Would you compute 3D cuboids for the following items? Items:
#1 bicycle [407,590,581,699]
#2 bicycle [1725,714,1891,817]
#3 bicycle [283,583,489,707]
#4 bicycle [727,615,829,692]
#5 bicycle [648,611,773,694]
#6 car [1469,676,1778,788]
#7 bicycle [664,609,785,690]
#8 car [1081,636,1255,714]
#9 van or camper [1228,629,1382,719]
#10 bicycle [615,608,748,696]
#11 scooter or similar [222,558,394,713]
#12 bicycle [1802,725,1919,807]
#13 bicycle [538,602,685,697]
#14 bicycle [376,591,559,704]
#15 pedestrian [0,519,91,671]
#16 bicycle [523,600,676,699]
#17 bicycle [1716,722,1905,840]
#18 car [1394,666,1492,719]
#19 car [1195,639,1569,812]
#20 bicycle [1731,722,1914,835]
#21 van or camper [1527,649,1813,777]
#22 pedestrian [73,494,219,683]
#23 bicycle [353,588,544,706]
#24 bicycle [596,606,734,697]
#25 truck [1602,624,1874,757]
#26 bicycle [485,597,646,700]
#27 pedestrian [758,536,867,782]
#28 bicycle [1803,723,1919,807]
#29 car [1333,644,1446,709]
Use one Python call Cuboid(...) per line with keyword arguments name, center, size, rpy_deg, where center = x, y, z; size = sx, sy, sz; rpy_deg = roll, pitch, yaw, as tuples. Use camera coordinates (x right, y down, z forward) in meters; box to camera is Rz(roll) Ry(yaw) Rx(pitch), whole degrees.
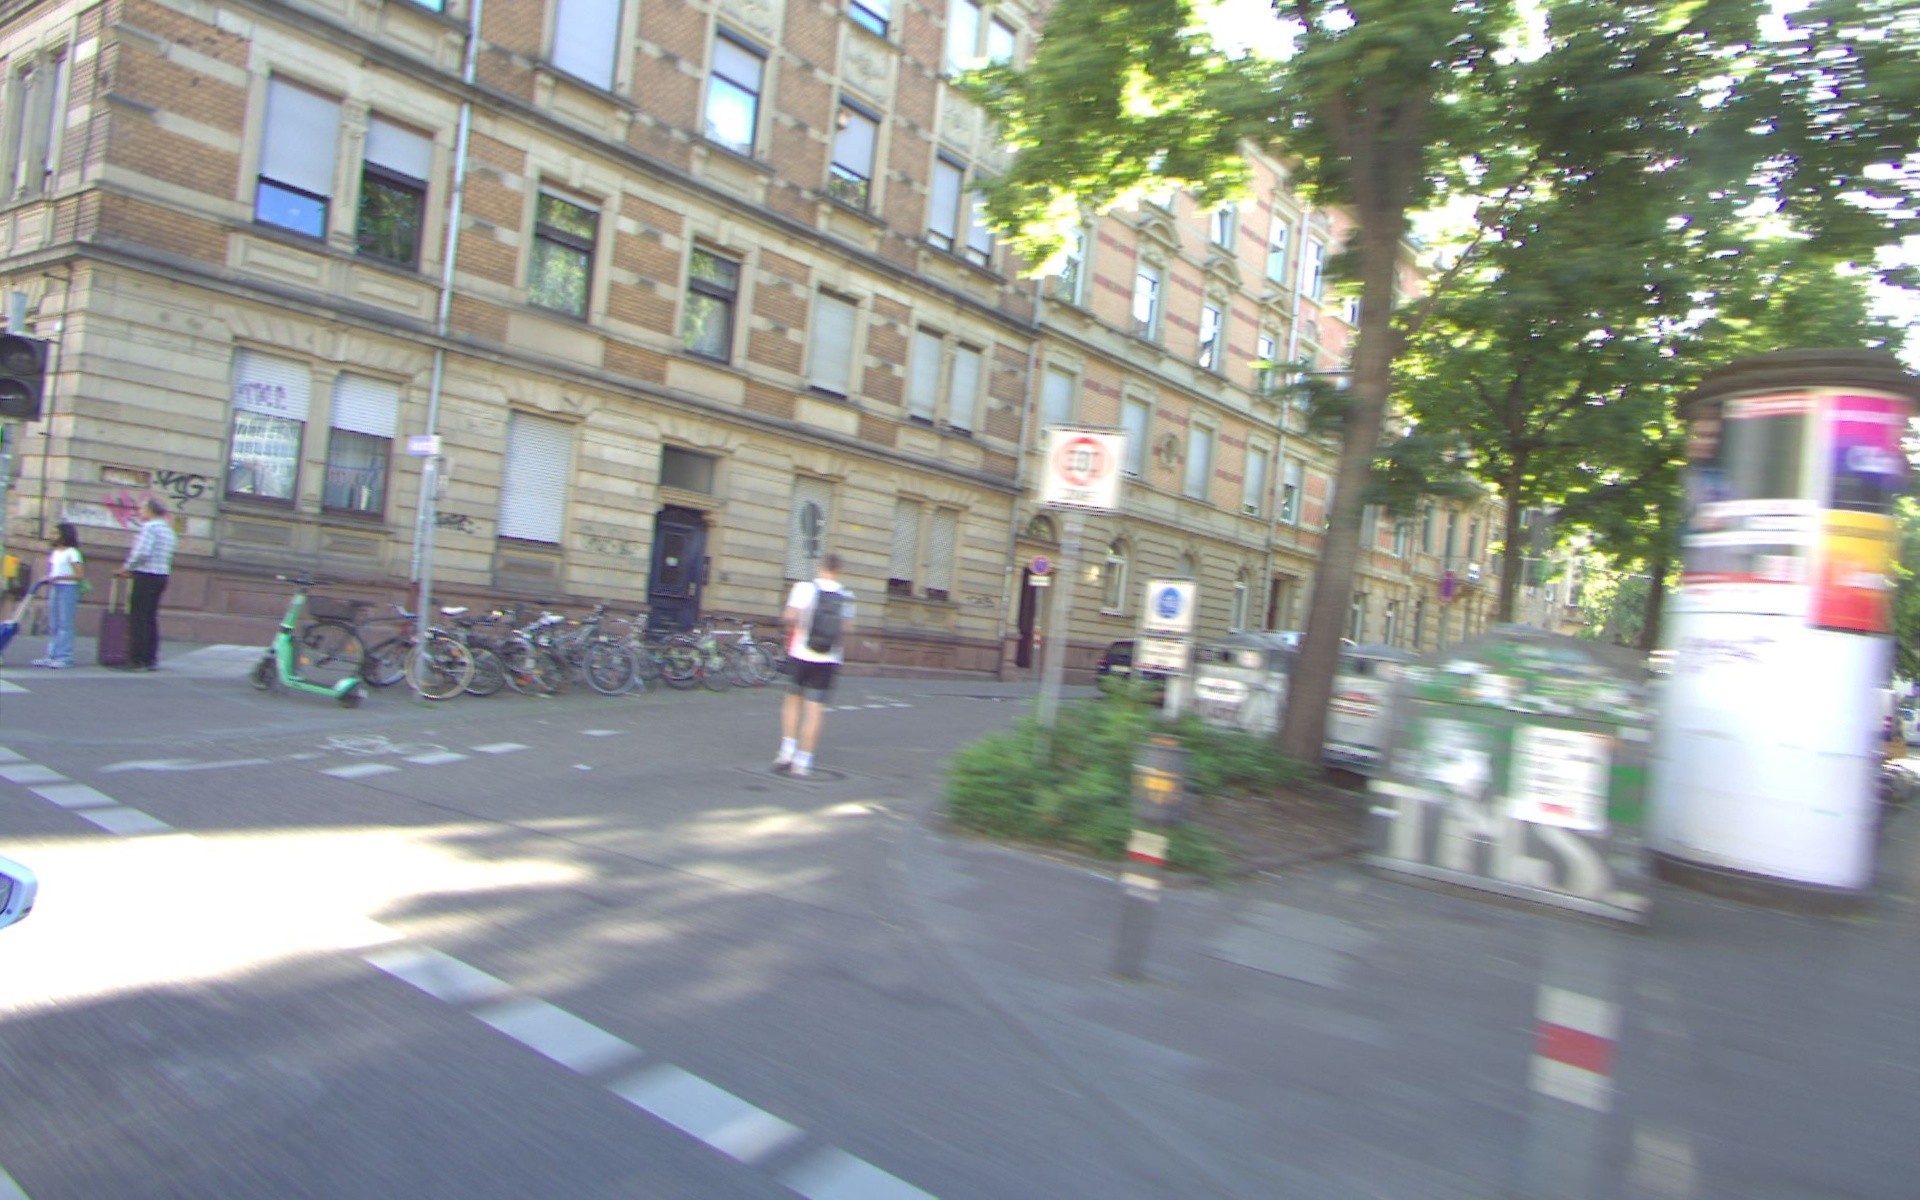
Cuboid(name="bicycle", center=(-5.694, 0.550, 12.363), size=(1.784, 1.128, 0.444), rpy_deg=(6, -1, -10))
Cuboid(name="bicycle", center=(11.885, 2.297, 14.176), size=(1.670, 1.152, 0.675), rpy_deg=(5, -1, 38))
Cuboid(name="bicycle", center=(-6.144, 0.487, 10.831), size=(1.783, 1.128, 0.444), rpy_deg=(6, -1, -9))
Cuboid(name="bicycle", center=(-3.146, 0.910, 17.328), size=(1.785, 1.128, 0.443), rpy_deg=(5, -1, 32))
Cuboid(name="bicycle", center=(-3.978, 0.831, 16.079), size=(1.781, 1.128, 0.444), rpy_deg=(6, -1, -1))
Cuboid(name="car", center=(12.232, 2.382, 18.771), size=(1.915, 1.419, 4.412), rpy_deg=(7, -3, -42))
Cuboid(name="bicycle", center=(-3.871, 0.816, 16.598), size=(1.781, 1.128, 0.444), rpy_deg=(6, -1, -1))
Cuboid(name="car", center=(4.816, 1.749, 22.967), size=(4.164, 1.453, 1.762), rpy_deg=(8, -3, -43))
Cuboid(name="van or camper", center=(9.316, 2.009, 26.983), size=(4.361, 2.003, 1.935), rpy_deg=(8, -2, -43))
Cuboid(name="bicycle", center=(-4.168, 0.784, 15.141), size=(1.784, 1.128, 0.444), rpy_deg=(6, -1, -10))
Cuboid(name="scooter or similar", center=(-6.264, 0.331, 9.668), size=(1.493, 1.305, 0.392), rpy_deg=(6, 0, 16))
Cuboid(name="bicycle", center=(15.221, 2.752, 16.543), size=(1.952, 1.120, 0.673), rpy_deg=(5, -1, 31))
Cuboid(name="bicycle", center=(-4.837, 0.689, 14.038), size=(1.784, 1.128, 0.444), rpy_deg=(6, -1, -10))
Cuboid(name="bicycle", center=(-5.771, 0.561, 11.859), size=(1.784, 1.128, 0.444), rpy_deg=(6, -1, -10))
Cuboid(name="pedestrian", center=(-9.266, -0.049, 10.169), size=(0.572, 1.430, 0.574), rpy_deg=(8, -3, -41))
Cuboid(name="bicycle", center=(-4.825, 0.670, 13.536), size=(1.784, 1.128, 0.444), rpy_deg=(6, -1, -10))
Cuboid(name="bicycle", center=(10.568, 2.209, 12.545), size=(0.594, 1.152, 1.674), rpy_deg=(6, -1, -43))
Cuboid(name="car", center=(17.059, 3.286, 35.454), size=(1.808, 1.583, 3.987), rpy_deg=(3, -4, 45))
Cuboid(name="car", center=(5.378, 1.531, 13.162), size=(1.987, 1.621, 3.953), rpy_deg=(7, -2, -43))
Cuboid(name="bicycle", center=(11.160, 2.271, 13.054), size=(0.697, 1.152, 1.674), rpy_deg=(7, -1, -43))
Cuboid(name="van or camper", center=(15.610, 2.418, 22.343), size=(2.074, 2.164, 4.687), rpy_deg=(7, -2, -39))
Cuboid(name="pedestrian", center=(-8.465, -0.108, 10.465), size=(0.862, 1.830, 0.847), rpy_deg=(6, 0, 36))
Cuboid(name="bicycle", center=(-5.754, 0.535, 11.387), size=(1.783, 1.128, 0.444), rpy_deg=(6, -1, -9))
Cuboid(name="bicycle", center=(-4.270, 0.752, 14.641), size=(1.784, 1.128, 0.444), rpy_deg=(6, -1, -10))
Cuboid(name="truck", center=(21.300, 2.398, 27.750), size=(2.090, 2.946, 5.512), rpy_deg=(7, -2, -43))
Cuboid(name="bicycle", center=(-5.061, 0.631, 12.976), size=(1.784, 1.128, 0.444), rpy_deg=(6, -1, -10))
Cuboid(name="pedestrian", center=(-1.317, 0.512, 8.969), size=(0.706, 2.008, 0.942), rpy_deg=(6, -1, -9))
Cuboid(name="bicycle", center=(14.767, 2.647, 15.968), size=(1.952, 1.120, 0.647), rpy_deg=(5, -1, 31))
Cuboid(name="car", center=(13.474, 2.410, 31.467), size=(1.808, 1.721, 3.987), rpy_deg=(3, -3, 45))
